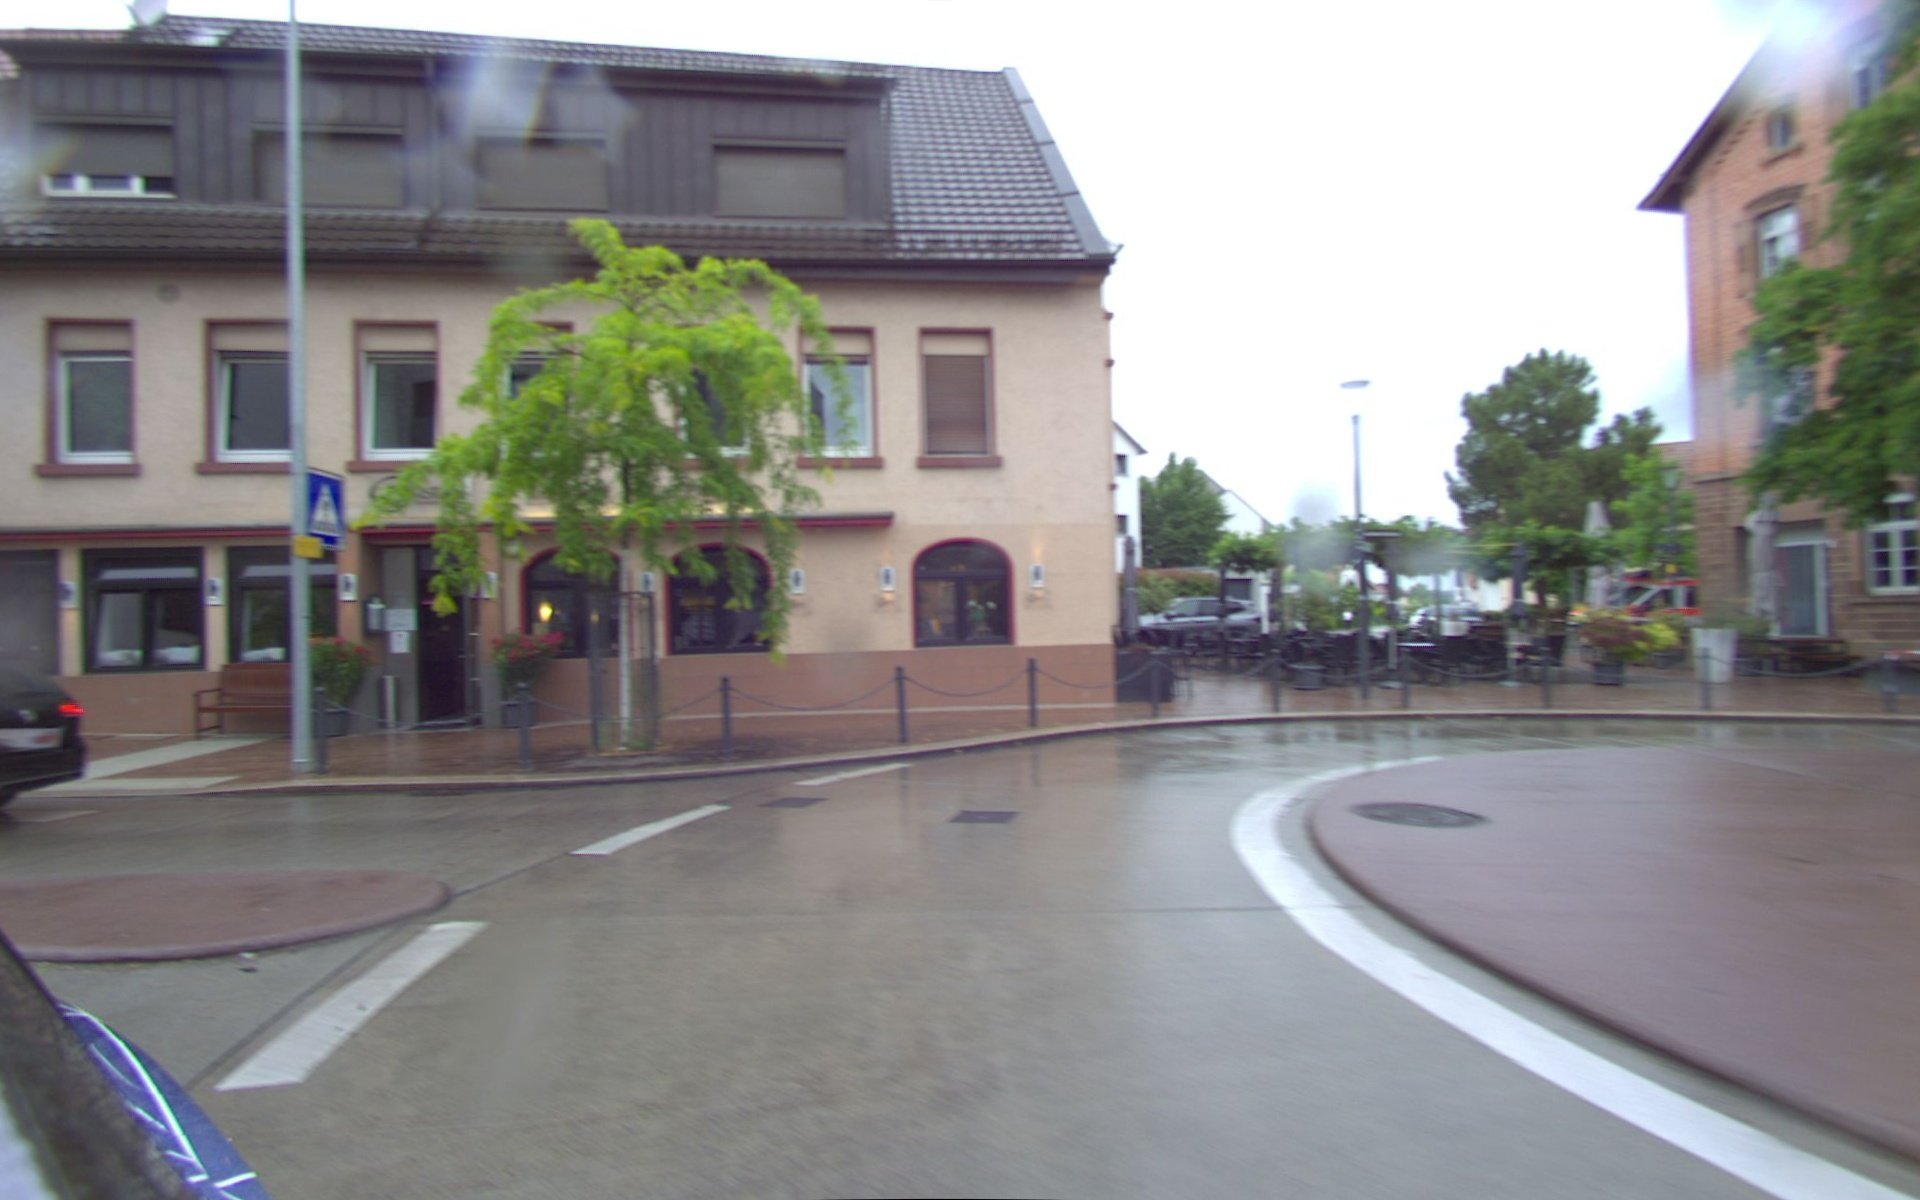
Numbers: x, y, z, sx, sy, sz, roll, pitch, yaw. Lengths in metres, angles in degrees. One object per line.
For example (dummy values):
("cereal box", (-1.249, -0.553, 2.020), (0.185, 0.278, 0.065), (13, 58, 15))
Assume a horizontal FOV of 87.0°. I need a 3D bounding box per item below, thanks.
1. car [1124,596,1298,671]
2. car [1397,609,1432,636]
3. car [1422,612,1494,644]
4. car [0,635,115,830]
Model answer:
("car", (7.058, 0.946, 28.808), (4.424, 2.029, 2.000), (0, -1, -1))
("car", (34.743, 1.716, 77.422), (1.983, 2.029, 3.977), (0, -1, 18))
("car", (23.279, 1.288, 47.444), (1.853, 1.453, 3.990), (0, -1, 8))
("car", (-9.323, 1.037, 7.622), (4.402, 1.442, 1.672), (-1, -3, -4))
